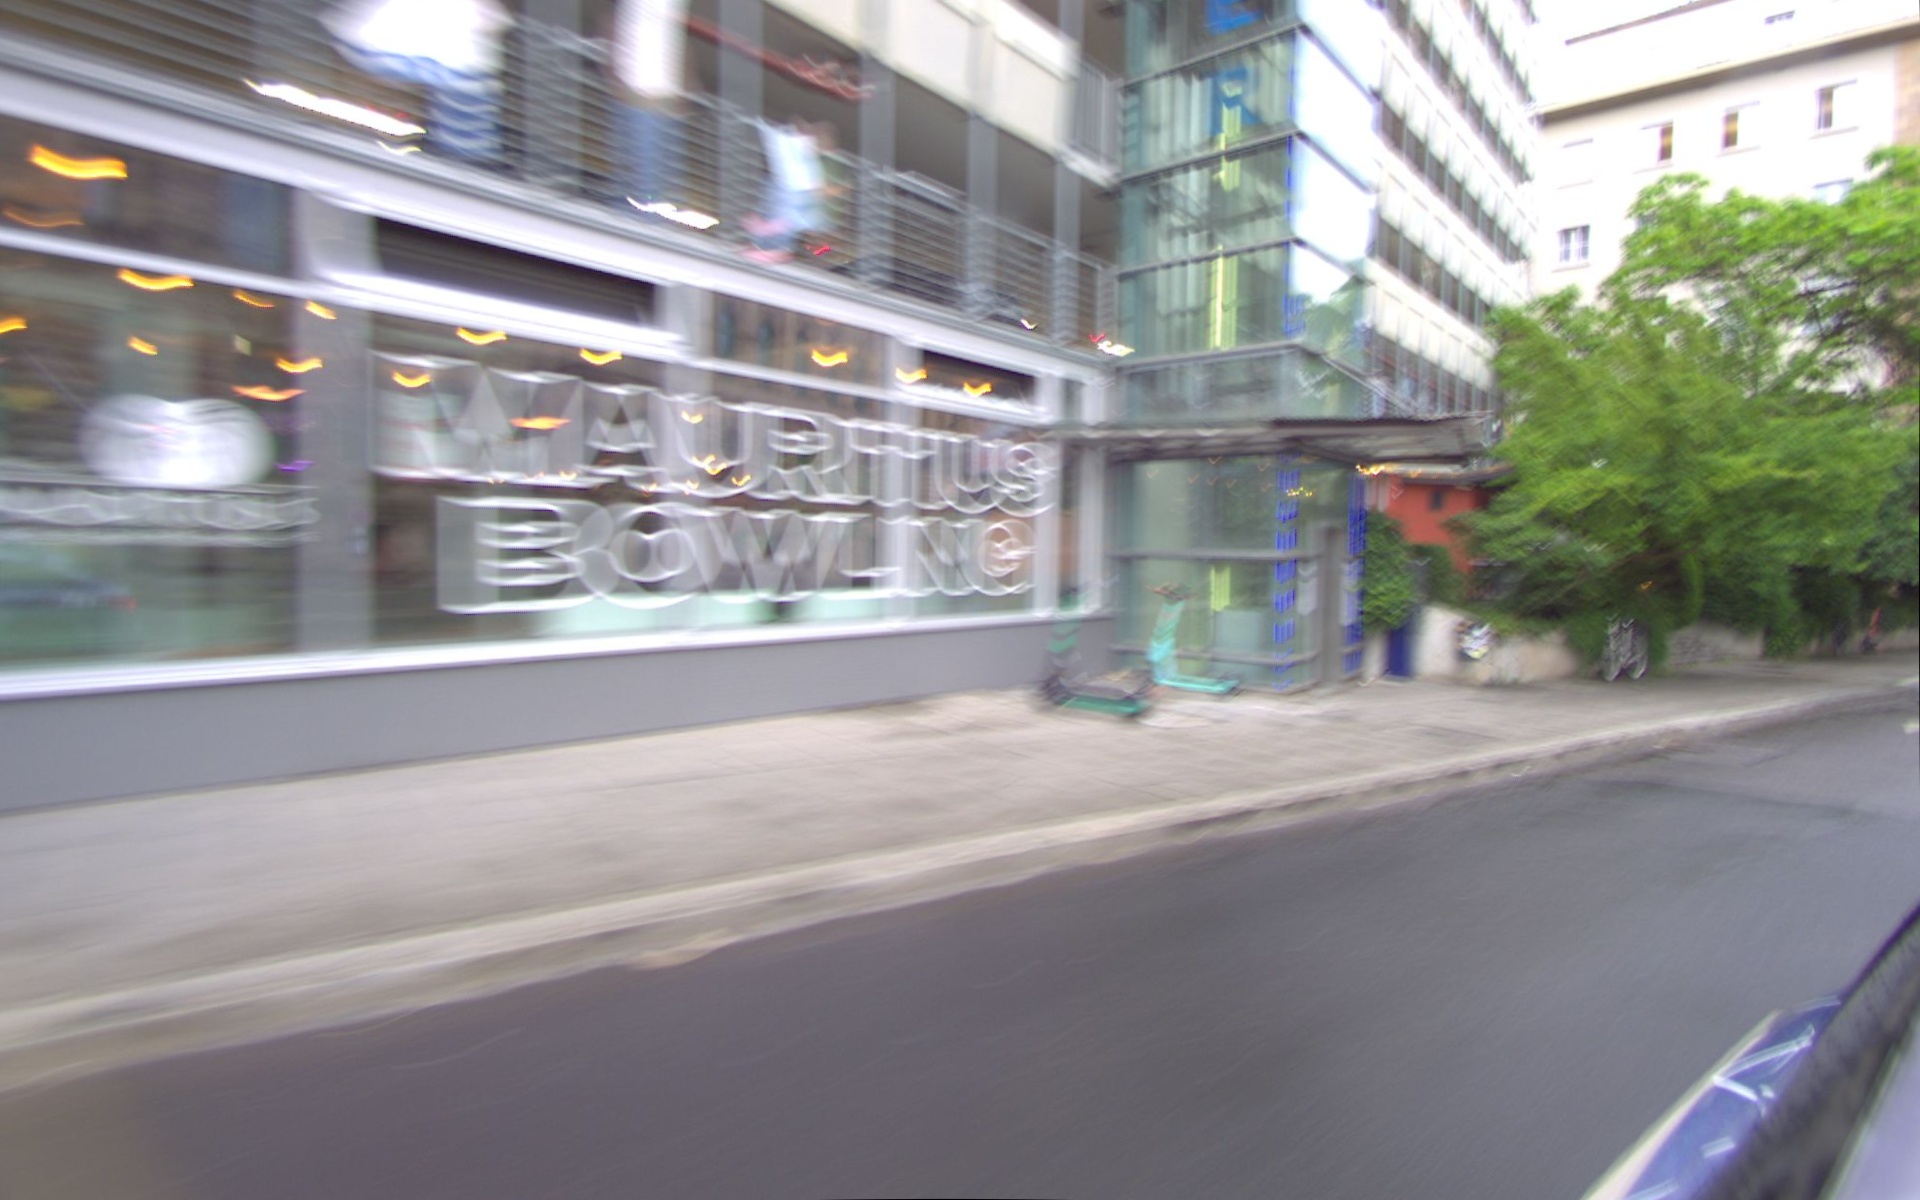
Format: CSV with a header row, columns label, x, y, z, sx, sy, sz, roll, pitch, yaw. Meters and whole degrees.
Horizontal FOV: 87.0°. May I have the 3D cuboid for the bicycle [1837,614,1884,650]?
label,x,y,z,sx,sy,sz,roll,pitch,yaw
bicycle,21.107,0.734,23.728,1.188,0.763,0.502,0,5,-35

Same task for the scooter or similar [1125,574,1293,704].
label,x,y,z,sx,sy,sz,roll,pitch,yaw
scooter or similar,2.762,0.391,11.282,1.628,1.283,0.735,4,3,31

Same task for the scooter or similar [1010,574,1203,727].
label,x,y,z,sx,sy,sz,roll,pitch,yaw
scooter or similar,1.395,0.431,9.714,1.628,1.283,0.735,4,3,31

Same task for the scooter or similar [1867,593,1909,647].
label,x,y,z,sx,sy,sz,roll,pitch,yaw
scooter or similar,22.765,0.486,24.826,1.188,1.274,0.449,0,3,-35

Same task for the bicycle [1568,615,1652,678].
label,x,y,z,sx,sy,sz,roll,pitch,yaw
bicycle,10.154,0.700,15.791,1.657,0.896,0.472,0,2,-34
